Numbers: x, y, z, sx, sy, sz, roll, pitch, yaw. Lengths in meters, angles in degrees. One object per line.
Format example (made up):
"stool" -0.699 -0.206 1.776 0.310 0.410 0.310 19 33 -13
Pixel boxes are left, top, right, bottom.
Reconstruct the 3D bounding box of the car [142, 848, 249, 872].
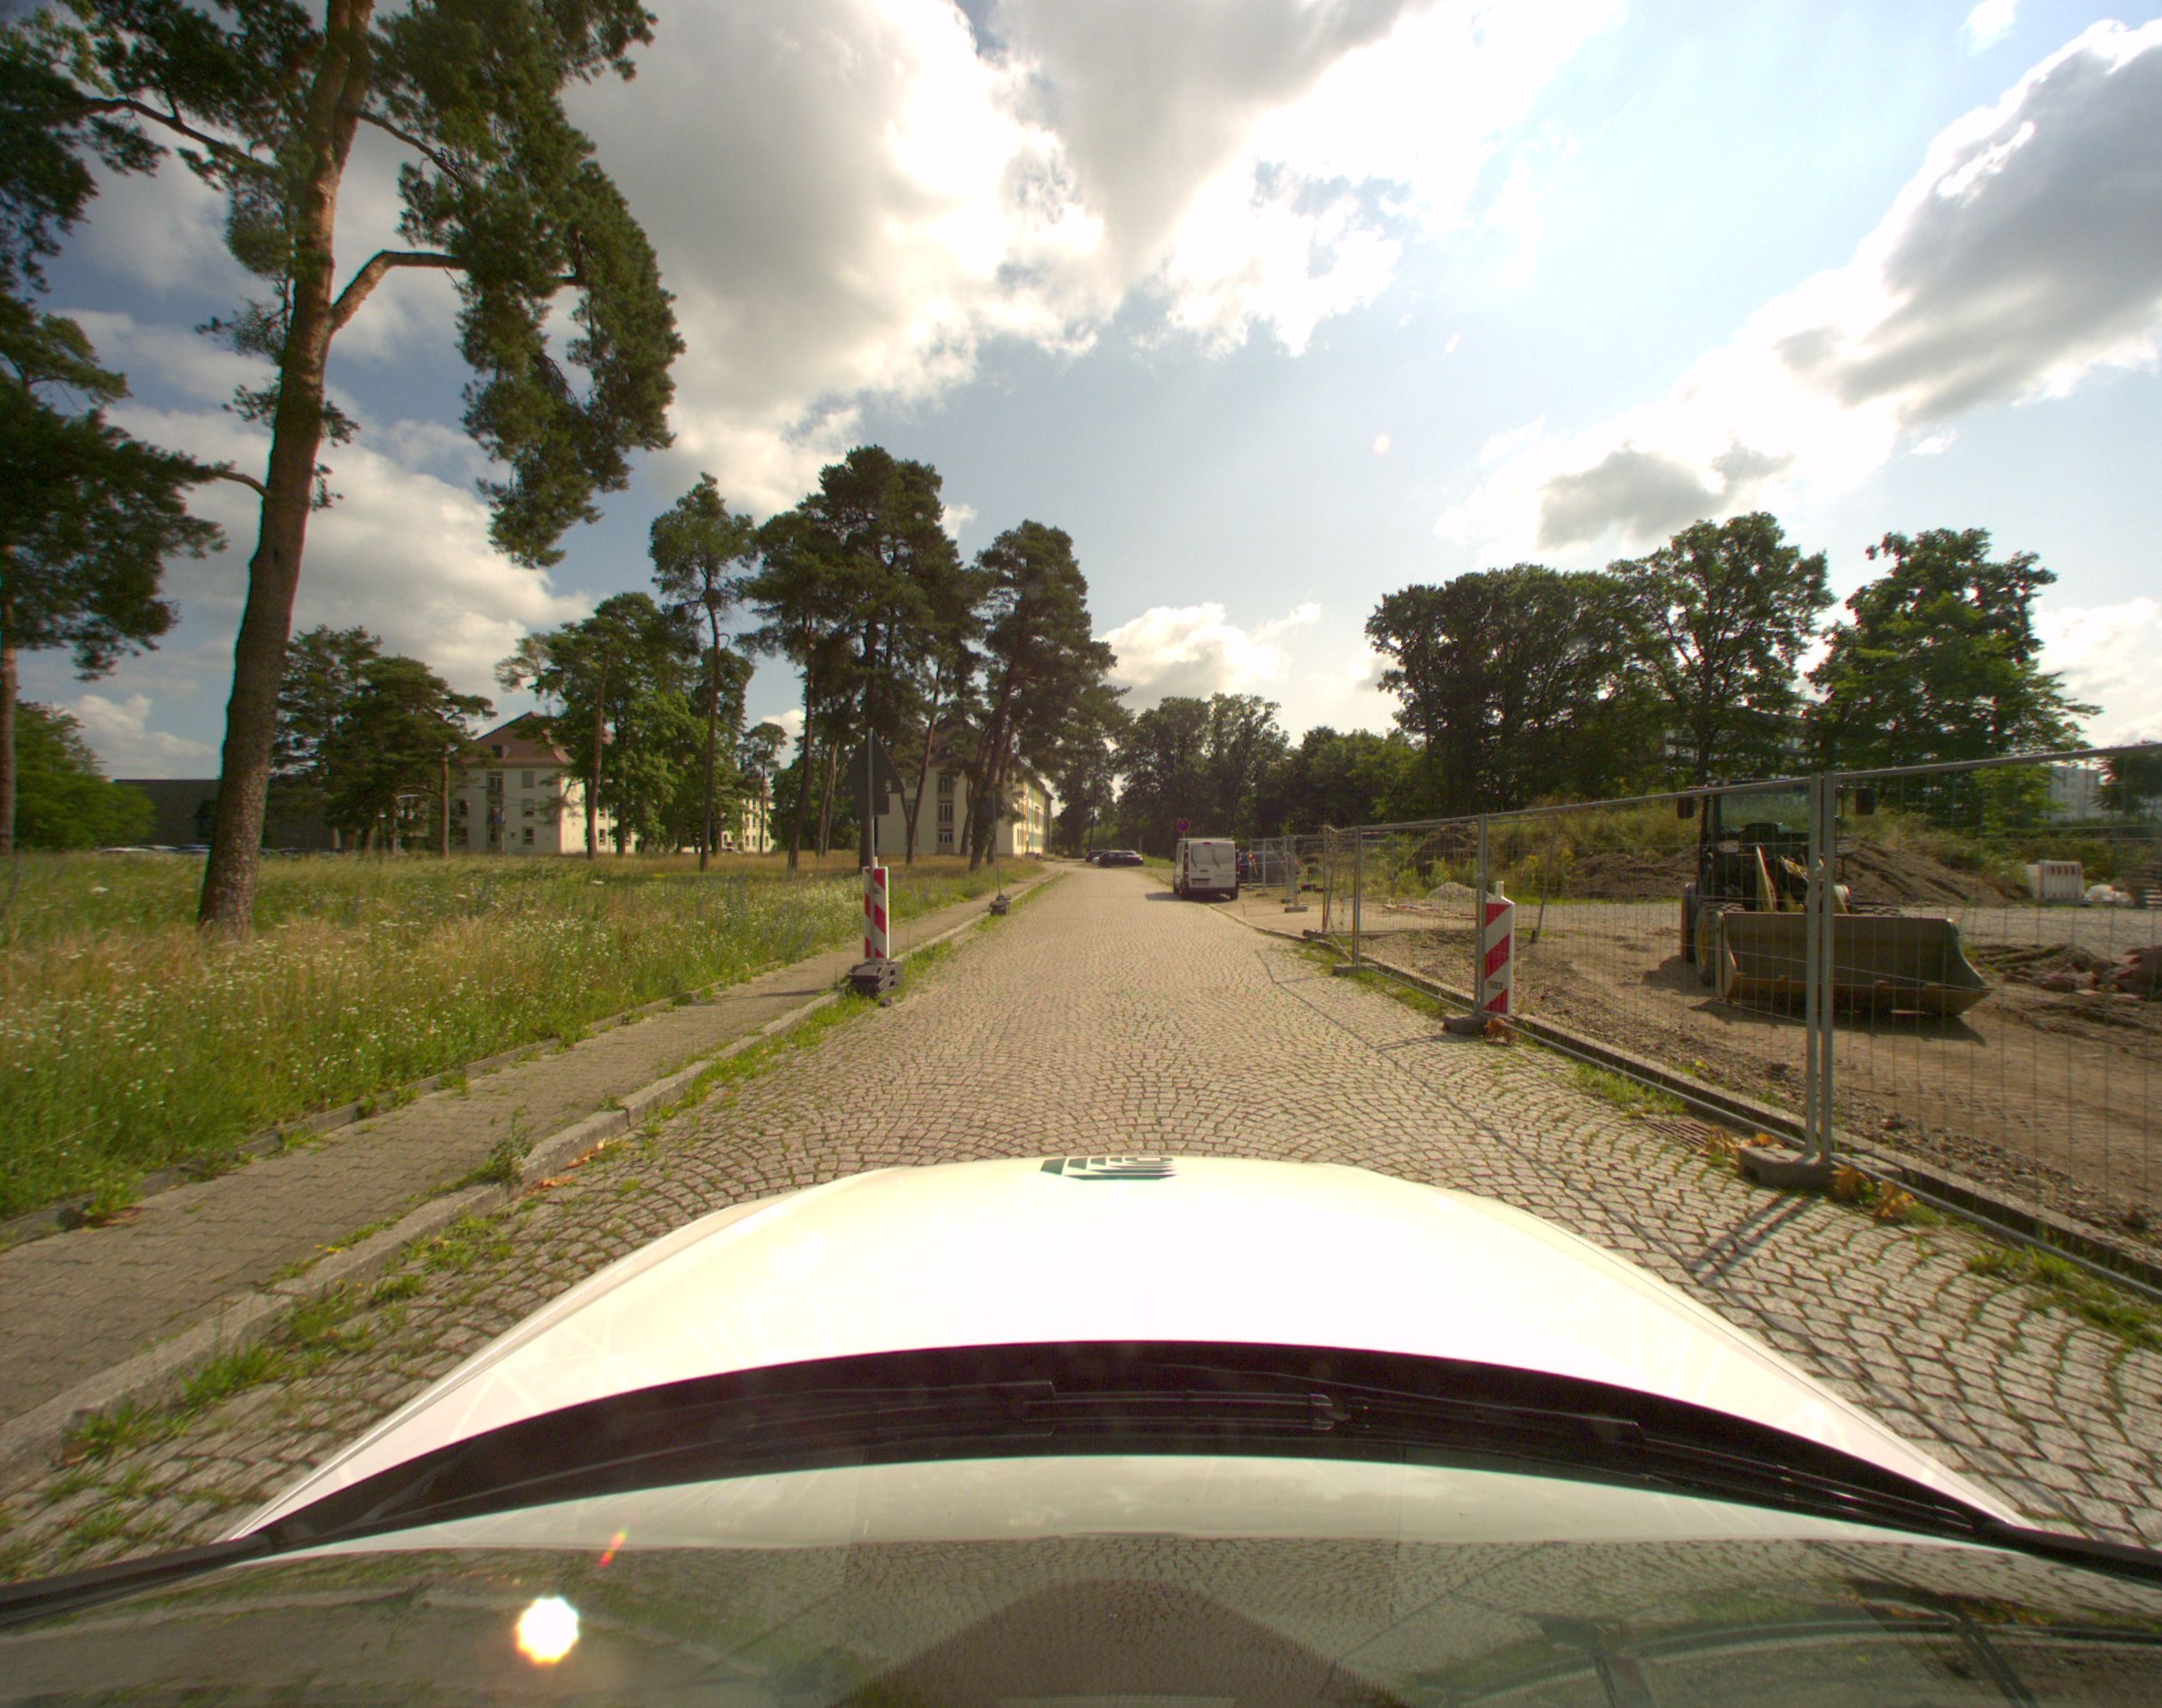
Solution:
"car" -51.016 0.337 46.970 4.052 1.339 1.900 -1 0 0

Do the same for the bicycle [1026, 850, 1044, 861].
"bicycle" -5.870 0.188 103.774 2.212 1.260 0.623 -1 0 3

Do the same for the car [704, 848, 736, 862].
"car" -53.354 0.138 120.414 4.043 1.991 1.714 -1 0 2

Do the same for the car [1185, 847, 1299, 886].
"car" 6.778 0.525 34.573 4.443 1.475 1.744 -2 0 -3

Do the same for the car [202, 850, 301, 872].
"car" -50.494 0.410 49.628 4.052 1.320 1.900 -1 0 0

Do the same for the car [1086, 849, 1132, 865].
"car" 2.919 0.276 86.540 4.837 1.552 1.879 -2 -1 -1

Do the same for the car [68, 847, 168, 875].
"car" -61.252 0.415 51.836 4.052 1.702 1.900 -1 0 0

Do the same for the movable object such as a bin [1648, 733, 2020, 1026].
"movable object such as a bin" 8.572 0.166 10.011 2.122 2.521 5.692 -1 1 30

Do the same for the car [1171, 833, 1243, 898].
"car" 4.309 0.351 28.670 1.906 2.053 5.682 -1 0 3

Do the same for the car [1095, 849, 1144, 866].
"car" 3.622 0.311 76.082 4.320 1.500 1.826 -2 1 -7

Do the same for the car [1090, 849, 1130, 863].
"car" 3.266 0.225 91.852 4.384 1.484 1.765 -2 -1 -1

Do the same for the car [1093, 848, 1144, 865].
"car" 3.617 0.264 79.177 4.847 1.472 1.874 -2 1 -1
